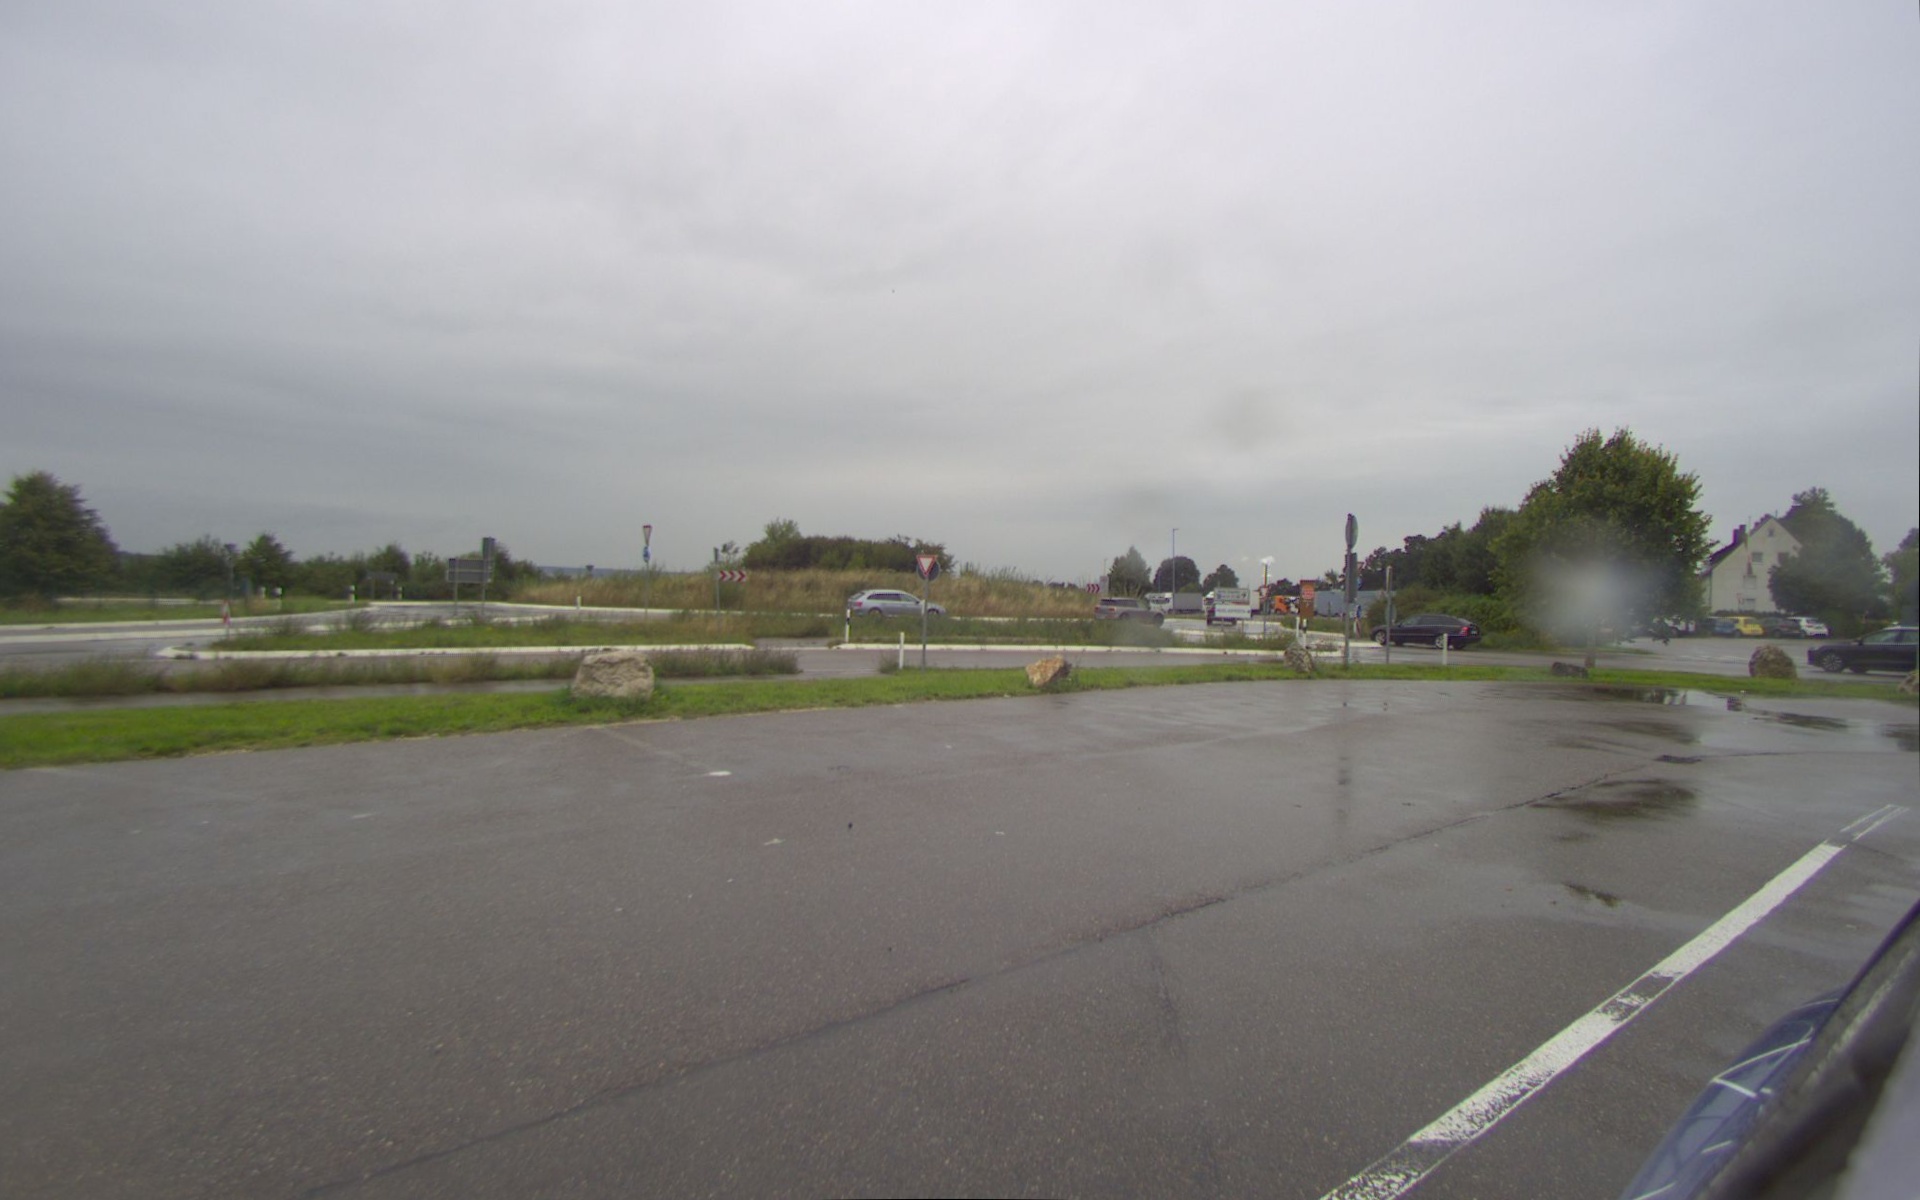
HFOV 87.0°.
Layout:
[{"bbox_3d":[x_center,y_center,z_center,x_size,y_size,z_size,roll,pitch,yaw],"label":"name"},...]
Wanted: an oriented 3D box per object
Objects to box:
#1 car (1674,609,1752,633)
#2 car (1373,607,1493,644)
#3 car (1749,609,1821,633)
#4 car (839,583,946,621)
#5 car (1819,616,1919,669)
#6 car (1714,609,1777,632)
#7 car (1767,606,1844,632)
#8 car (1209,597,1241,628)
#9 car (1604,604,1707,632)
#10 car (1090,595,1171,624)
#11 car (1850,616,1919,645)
[{"bbox_3d":[52.763,1.466,71.036,1.962,1.570,4.648,1,-1,-1],"label":"car"},{"bbox_3d":[20.130,1.072,43.225,1.674,1.443,4.359,1,0,-36],"label":"car"},{"bbox_3d":[57.876,1.464,71.097,1.715,1.590,3.891,1,0,-3],"label":"car"},{"bbox_3d":[-3.137,0.100,46.898,4.564,1.500,2.005,2,1,-15],"label":"car"},{"bbox_3d":[28.653,1.306,30.099,1.830,1.467,4.338,2,0,-24],"label":"car"},{"bbox_3d":[55.264,1.410,71.298,1.635,1.569,3.724,1,0,2],"label":"car"},{"bbox_3d":[59.872,1.316,71.753,1.951,1.750,4.003,1,0,-4],"label":"car"},{"bbox_3d":[17.361,0.785,66.261,1.865,1.704,4.650,2,3,15],"label":"car"},{"bbox_3d":[46.124,1.174,67.228,1.966,1.744,5.366,2,-1,-42],"label":"car"},{"bbox_3d":[8.783,0.451,51.970,4.231,1.340,1.756,-1,3,-39],"label":"car"},{"bbox_3d":[51.393,1.667,55.032,1.819,1.443,4.350,1,0,-44],"label":"car"}]
